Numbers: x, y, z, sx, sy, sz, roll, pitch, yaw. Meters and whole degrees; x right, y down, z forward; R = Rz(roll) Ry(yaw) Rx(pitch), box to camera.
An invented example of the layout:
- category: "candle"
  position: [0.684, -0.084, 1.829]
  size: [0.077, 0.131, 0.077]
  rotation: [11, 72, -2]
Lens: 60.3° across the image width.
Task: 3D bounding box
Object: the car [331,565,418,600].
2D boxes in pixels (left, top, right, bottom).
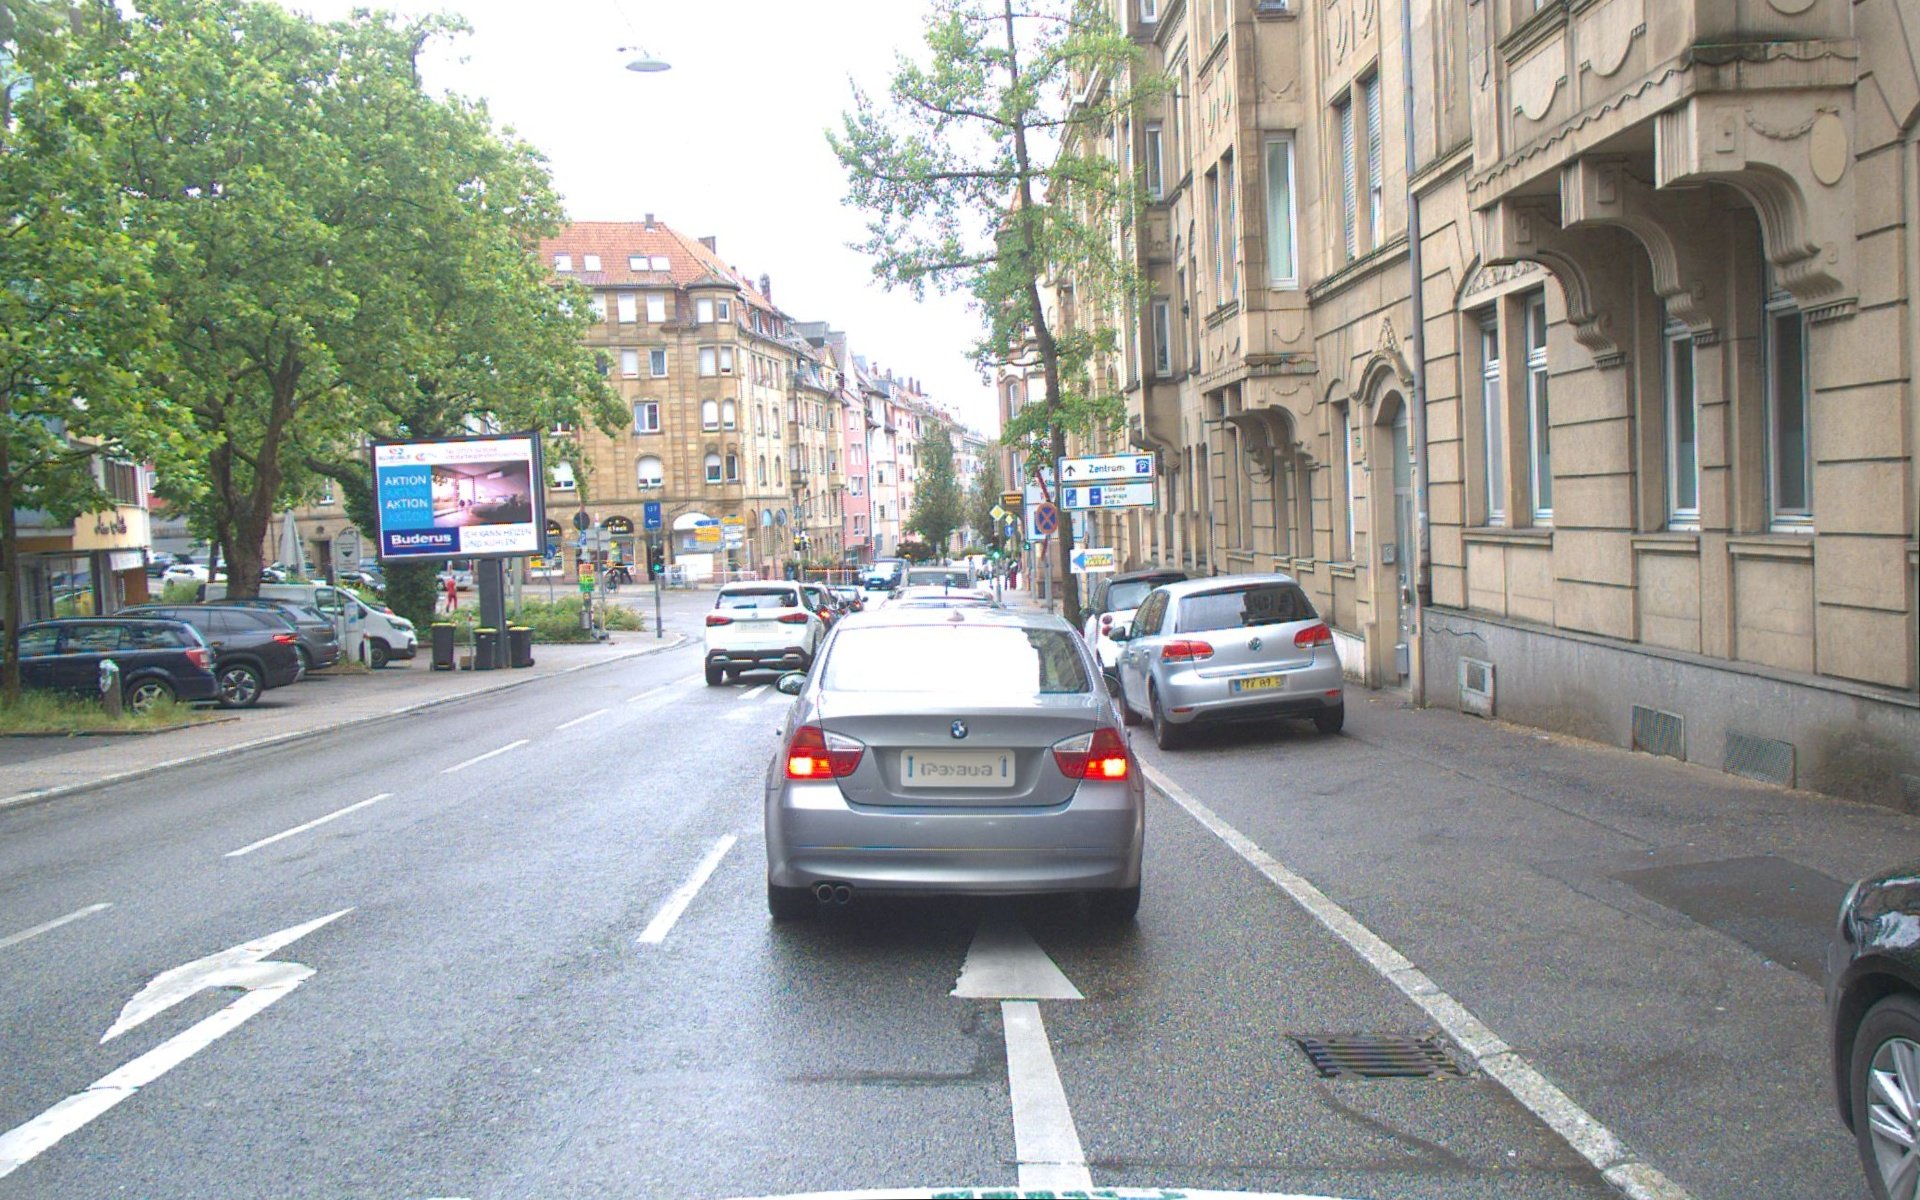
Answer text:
- category: "car"
  position: [-30.388, -0.921, 85.818]
  size: [4.157, 1.756, 1.997]
  rotation: [1, 2, 30]

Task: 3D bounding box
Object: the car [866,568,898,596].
- category: "car"
  position: [-4.446, -1.026, 94.400]
  size: [1.680, 1.476, 3.741]
  rotation: [-2, 0, -1]

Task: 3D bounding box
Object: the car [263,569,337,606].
- category: "car"
  position: [-40.638, -0.800, 101.787]
  size: [4.196, 2.138, 1.998]
  rotation: [2, 2, 28]

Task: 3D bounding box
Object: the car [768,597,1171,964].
- category: "car"
  position: [0.050, 0.717, 8.393]
  size: [1.590, 1.407, 3.615]
  rotation: [-1, 1, 0]

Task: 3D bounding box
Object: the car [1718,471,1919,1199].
- category: "car"
  position: [2.779, 0.508, 1.967]
  size: [1.724, 1.679, 4.098]
  rotation: [-6, 1, 0]

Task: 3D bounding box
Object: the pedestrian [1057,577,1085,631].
- category: "pedestrian"
  position: [3.297, 0.122, 49.110]
  size: [0.618, 1.534, 0.693]
  rotation: [-6, 0, -2]

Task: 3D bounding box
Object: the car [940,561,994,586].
- category: "car"
  position: [0.486, -1.780, 112.889]
  size: [1.957, 1.606, 3.991]
  rotation: [1, 0, 31]

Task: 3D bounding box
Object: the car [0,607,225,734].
- category: "car"
  position: [-13.033, 1.019, 23.904]
  size: [4.299, 1.601, 1.929]
  rotation: [-3, 1, -24]

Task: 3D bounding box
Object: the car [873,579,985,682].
- category: "car"
  position: [-0.474, 0.453, 27.917]
  size: [1.723, 1.594, 4.000]
  rotation: [-1, 1, 0]

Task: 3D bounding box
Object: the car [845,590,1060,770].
- category: "car"
  position: [-0.048, 0.634, 15.320]
  size: [1.723, 1.407, 4.000]
  rotation: [-1, 1, 0]

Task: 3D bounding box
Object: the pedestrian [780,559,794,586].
- category: "pedestrian"
  position: [-10.546, -1.678, 100.844]
  size: [0.716, 1.605, 0.528]
  rotation: [-1, 1, 8]

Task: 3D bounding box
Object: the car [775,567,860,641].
- category: "car"
  position: [-3.510, 0.069, 41.253]
  size: [1.723, 1.737, 4.000]
  rotation: [-1, 1, 0]

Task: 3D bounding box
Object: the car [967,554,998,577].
- category: "car"
  position: [1.647, -2.502, 120.584]
  size: [1.951, 1.606, 4.002]
  rotation: [1, 0, 5]

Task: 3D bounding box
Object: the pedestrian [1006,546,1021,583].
- category: "pedestrian"
  position: [2.860, -1.894, 88.110]
  size: [0.727, 1.943, 0.659]
  rotation: [-2, 1, -2]

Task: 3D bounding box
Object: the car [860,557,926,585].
- category: "car"
  position: [-5.228, -2.273, 130.085]
  size: [5.072, 2.049, 2.698]
  rotation: [1, 0, -1]

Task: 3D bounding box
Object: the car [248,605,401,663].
- category: "car"
  position: [-17.946, 0.948, 46.802]
  size: [3.916, 1.475, 1.757]
  rotation: [-2, 0, -22]

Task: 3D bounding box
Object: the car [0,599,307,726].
- category: "car"
  position: [-12.891, 0.947, 26.663]
  size: [4.308, 1.701, 1.842]
  rotation: [-3, 1, -24]

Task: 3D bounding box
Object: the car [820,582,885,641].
- category: "car"
  position: [-3.301, 0.331, 51.538]
  size: [1.723, 1.737, 4.000]
  rotation: [-1, 1, 0]

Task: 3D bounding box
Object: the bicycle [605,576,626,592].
- category: "bicycle"
  position: [-19.226, -0.891, 92.317]
  size: [0.561, 0.873, 1.523]
  rotation: [1, 0, 11]

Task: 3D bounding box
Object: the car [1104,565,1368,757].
- category: "car"
  position: [2.559, 0.508, 16.265]
  size: [1.725, 1.476, 3.999]
  rotation: [-6, 1, -1]

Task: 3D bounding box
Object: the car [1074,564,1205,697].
- category: "car"
  position: [2.406, 0.378, 22.679]
  size: [1.273, 1.569, 2.975]
  rotation: [-6, 1, -1]

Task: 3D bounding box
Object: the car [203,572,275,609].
- category: "car"
  position: [-45.414, -0.611, 104.180]
  size: [4.196, 2.138, 1.998]
  rotation: [2, 2, 28]

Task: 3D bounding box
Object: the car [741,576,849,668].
- category: "car"
  position: [-3.256, 0.393, 33.320]
  size: [1.723, 1.737, 4.000]
  rotation: [-1, 1, 0]

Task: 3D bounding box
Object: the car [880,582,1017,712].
- category: "car"
  position: [-0.121, 0.518, 20.997]
  size: [1.562, 1.490, 4.000]
  rotation: [0, 1, 0]

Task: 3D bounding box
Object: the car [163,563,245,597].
- category: "car"
  position: [-42.172, -1.100, 92.249]
  size: [4.155, 1.756, 1.998]
  rotation: [0, 3, 29]

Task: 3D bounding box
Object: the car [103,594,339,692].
- category: "car"
  position: [-15.095, 0.846, 34.043]
  size: [4.295, 1.815, 1.927]
  rotation: [-2, 0, -22]

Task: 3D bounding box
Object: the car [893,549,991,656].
- category: "car"
  position: [-0.388, 0.043, 35.144]
  size: [1.953, 2.143, 3.999]
  rotation: [0, 0, -1]

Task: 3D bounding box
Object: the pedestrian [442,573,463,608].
- category: "pedestrian"
  position: [-23.921, -0.447, 77.973]
  size: [0.525, 1.604, 0.720]
  rotation: [-3, 1, 15]

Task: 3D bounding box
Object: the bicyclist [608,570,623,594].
- category: "bicyclist"
  position: [-19.220, -1.003, 92.292]
  size: [0.556, 1.295, 0.690]
  rotation: [1, 0, 11]

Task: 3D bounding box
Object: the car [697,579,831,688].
- category: "car"
  position: [-3.190, 0.501, 27.637]
  size: [1.830, 1.654, 3.999]
  rotation: [-1, 1, -1]

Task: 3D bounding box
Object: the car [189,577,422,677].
- category: "car"
  position: [-15.463, 0.604, 39.273]
  size: [4.989, 2.142, 1.979]
  rotation: [-2, 0, -22]

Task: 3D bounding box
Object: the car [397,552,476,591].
- category: "car"
  position: [-30.383, -1.676, 96.033]
  size: [4.196, 2.138, 1.998]
  rotation: [2, 2, 28]
